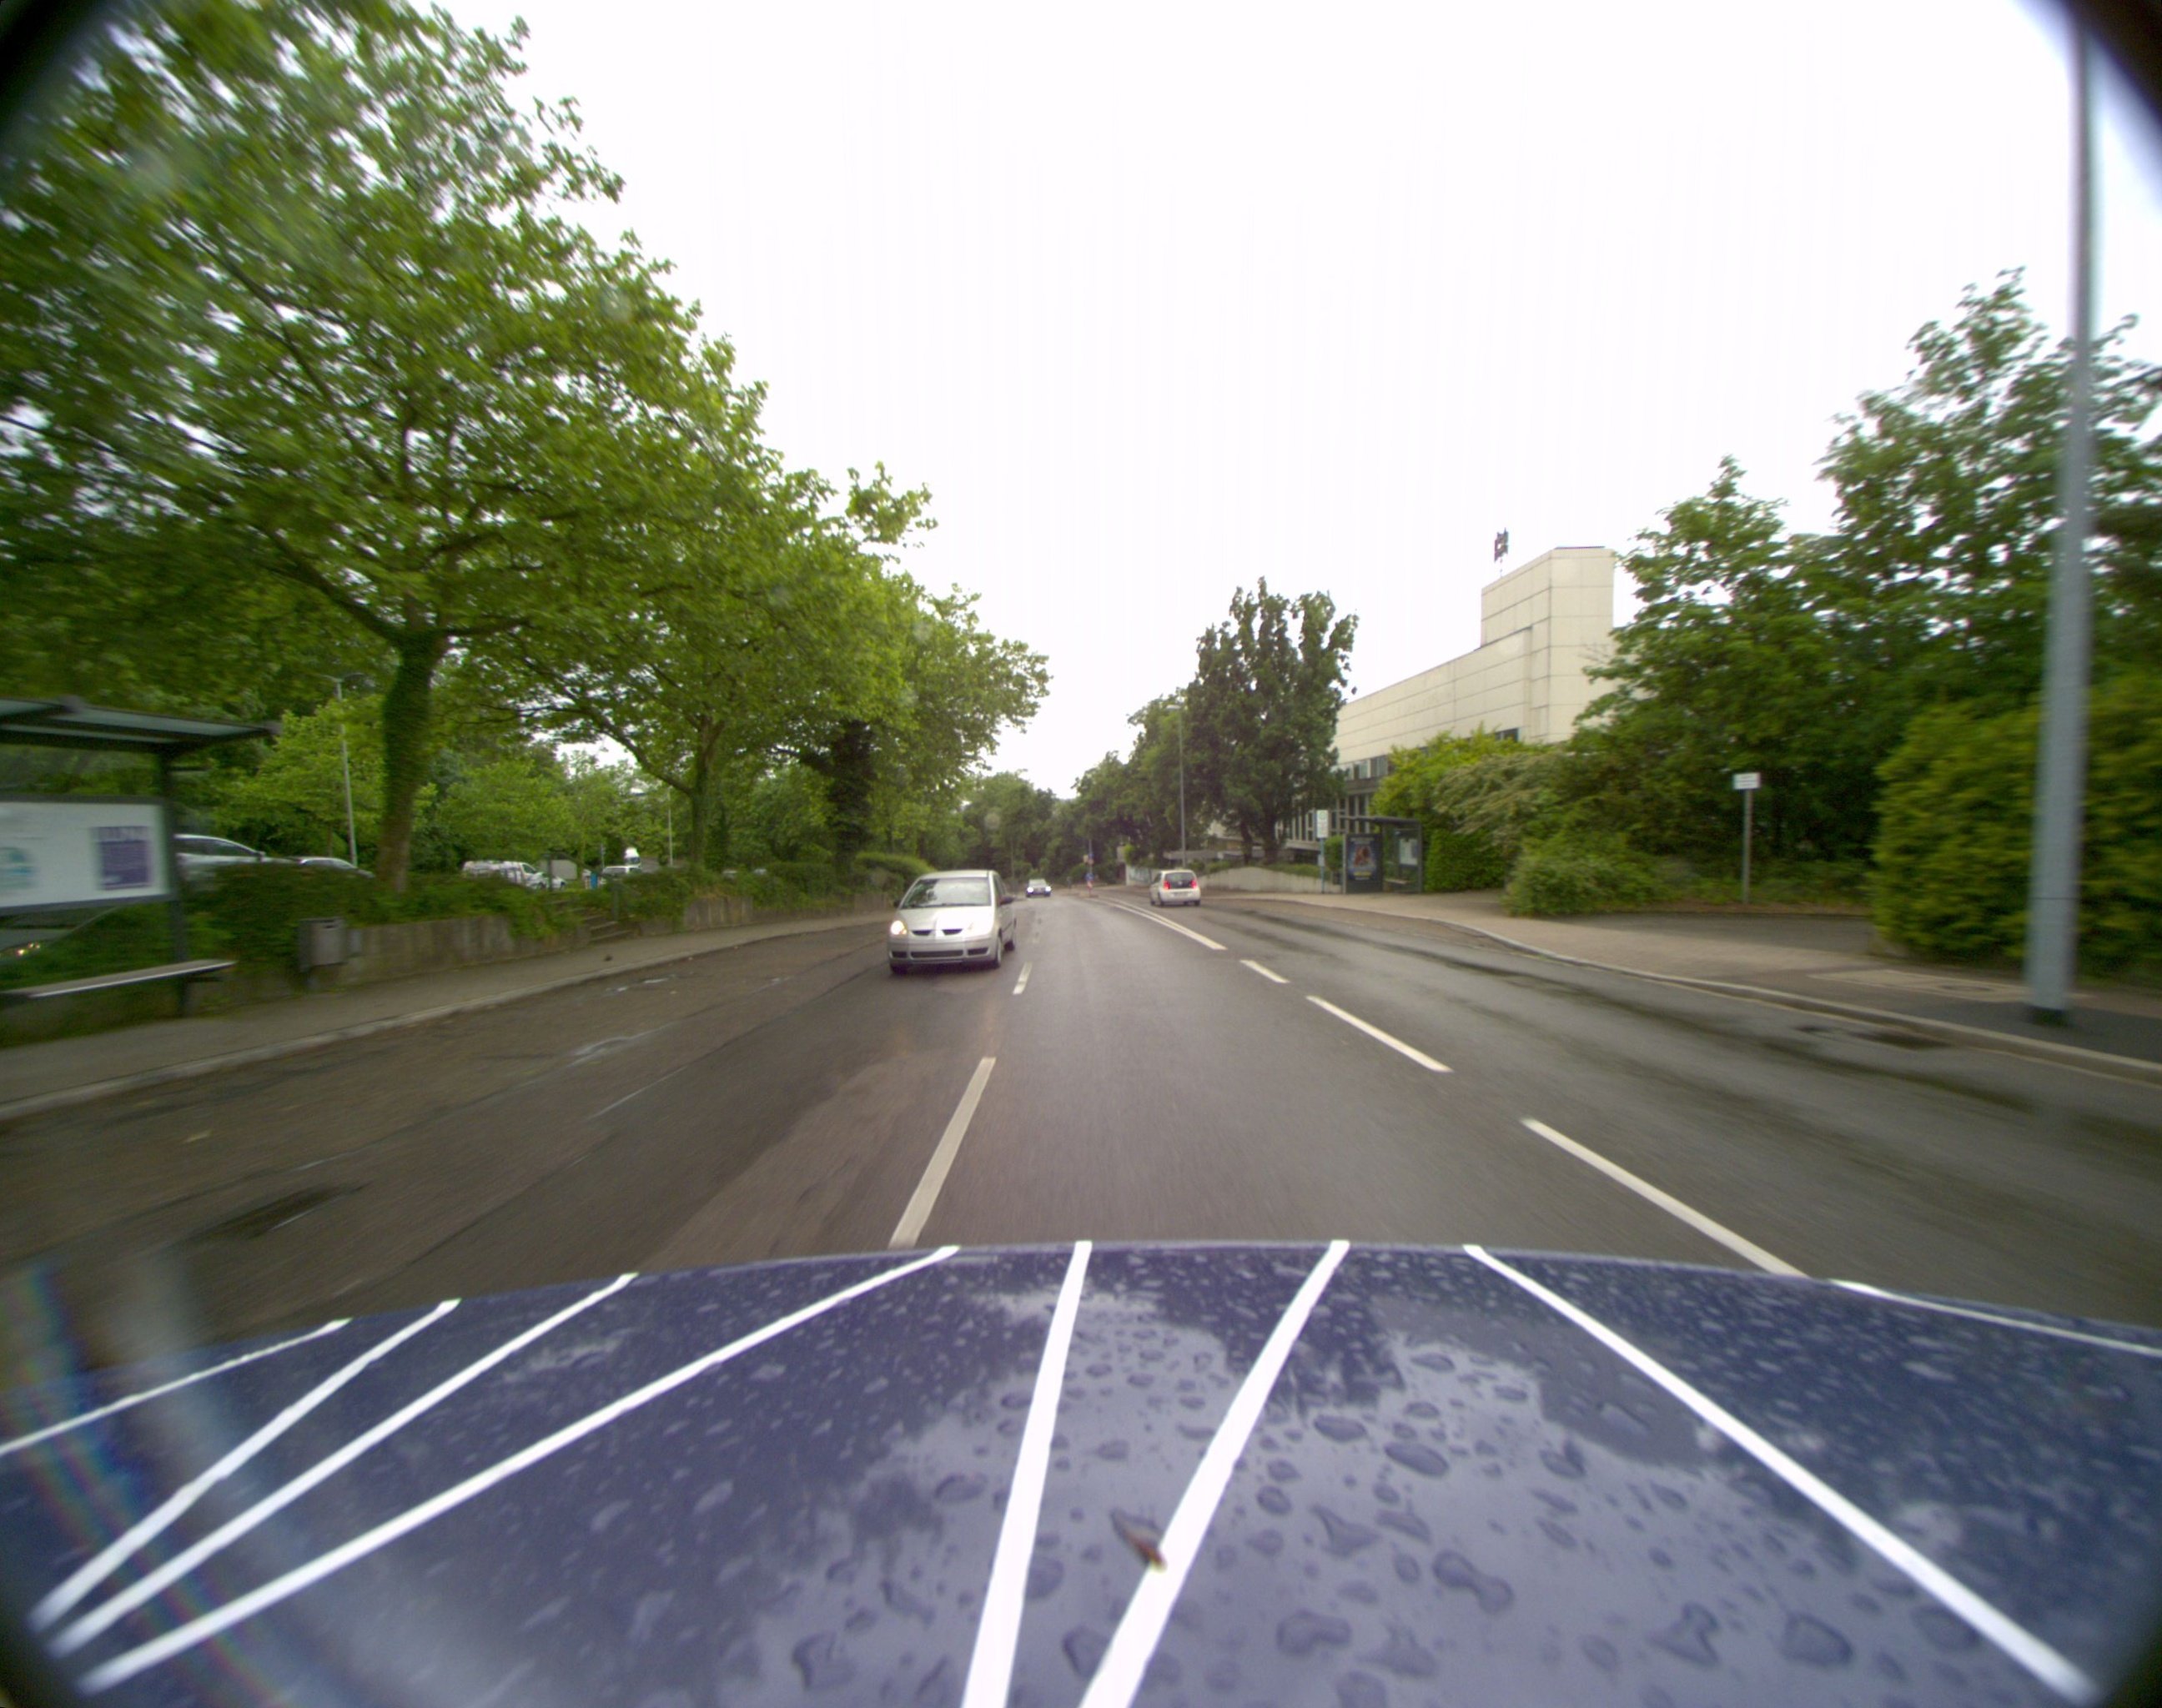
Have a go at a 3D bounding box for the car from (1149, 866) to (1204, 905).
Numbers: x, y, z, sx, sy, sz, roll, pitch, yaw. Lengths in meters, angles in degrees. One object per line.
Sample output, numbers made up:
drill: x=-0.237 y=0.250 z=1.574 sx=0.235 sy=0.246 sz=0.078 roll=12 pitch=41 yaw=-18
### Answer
car: x=3.905 y=1.265 z=31.544 sx=1.690 sy=1.445 sz=3.398 roll=-1 pitch=-1 yaw=-2

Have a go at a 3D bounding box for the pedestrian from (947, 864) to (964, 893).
pedestrian: x=-8.614 y=1.672 z=52.257 sx=1.054 sy=1.882 sz=1.132 roll=-1 pitch=1 yaw=-8

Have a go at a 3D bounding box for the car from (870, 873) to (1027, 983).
car: x=-2.053 y=1.117 z=12.938 sx=1.639 sy=1.495 sz=4.002 roll=-3 pitch=-1 yaw=4

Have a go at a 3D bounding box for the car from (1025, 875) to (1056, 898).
car: x=-3.212 y=2.604 z=61.210 sx=2.035 sy=1.690 sz=4.002 roll=-4 pitch=-2 yaw=2

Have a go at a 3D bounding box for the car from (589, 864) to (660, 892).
car: x=-27.143 y=1.435 z=45.332 sx=1.900 sy=1.444 sz=4.171 roll=-4 pitch=-2 yaw=-5

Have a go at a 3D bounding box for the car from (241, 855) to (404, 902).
car: x=-27.506 y=0.894 z=27.776 sx=1.900 sy=1.444 sz=4.171 roll=-4 pitch=-2 yaw=-5

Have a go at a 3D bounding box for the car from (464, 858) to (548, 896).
car: x=-33.245 y=1.335 z=44.107 sx=1.707 sy=2.001 sz=4.354 roll=-3 pitch=-2 yaw=-4

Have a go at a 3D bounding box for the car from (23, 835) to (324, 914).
car: x=-19.990 y=0.477 z=17.098 sx=1.900 sy=1.444 sz=4.171 roll=-4 pitch=-2 yaw=-5
